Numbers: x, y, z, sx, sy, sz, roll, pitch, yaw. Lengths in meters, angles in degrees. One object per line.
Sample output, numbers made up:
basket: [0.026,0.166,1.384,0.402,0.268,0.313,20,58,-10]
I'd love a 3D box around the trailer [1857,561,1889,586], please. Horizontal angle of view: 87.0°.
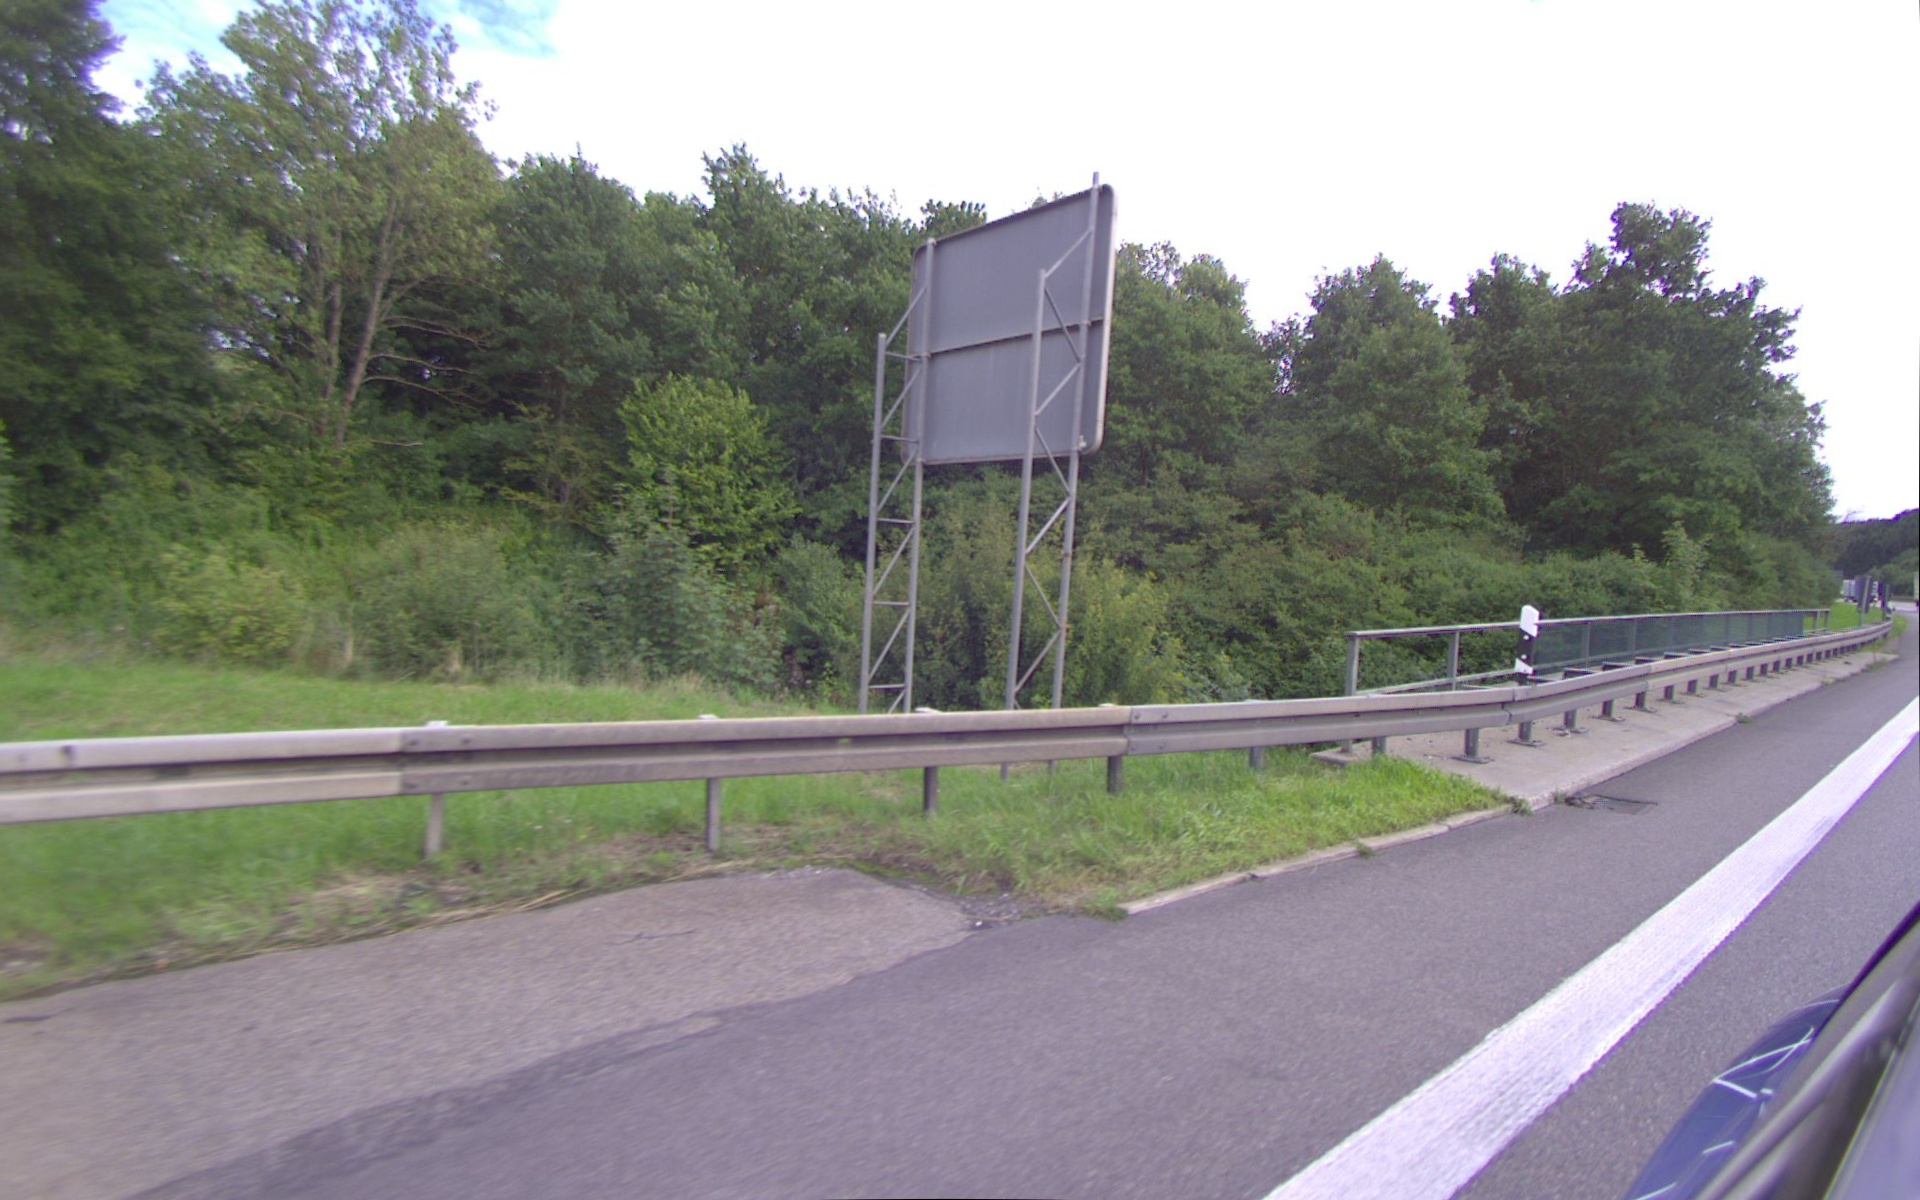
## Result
trailer: [150.683,-4.414,167.170,2.772,4.004,11.149,1,2,36]

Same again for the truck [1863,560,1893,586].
truck: [146.399,-4.285,161.453,2.781,4.021,5.863,1,1,36]
